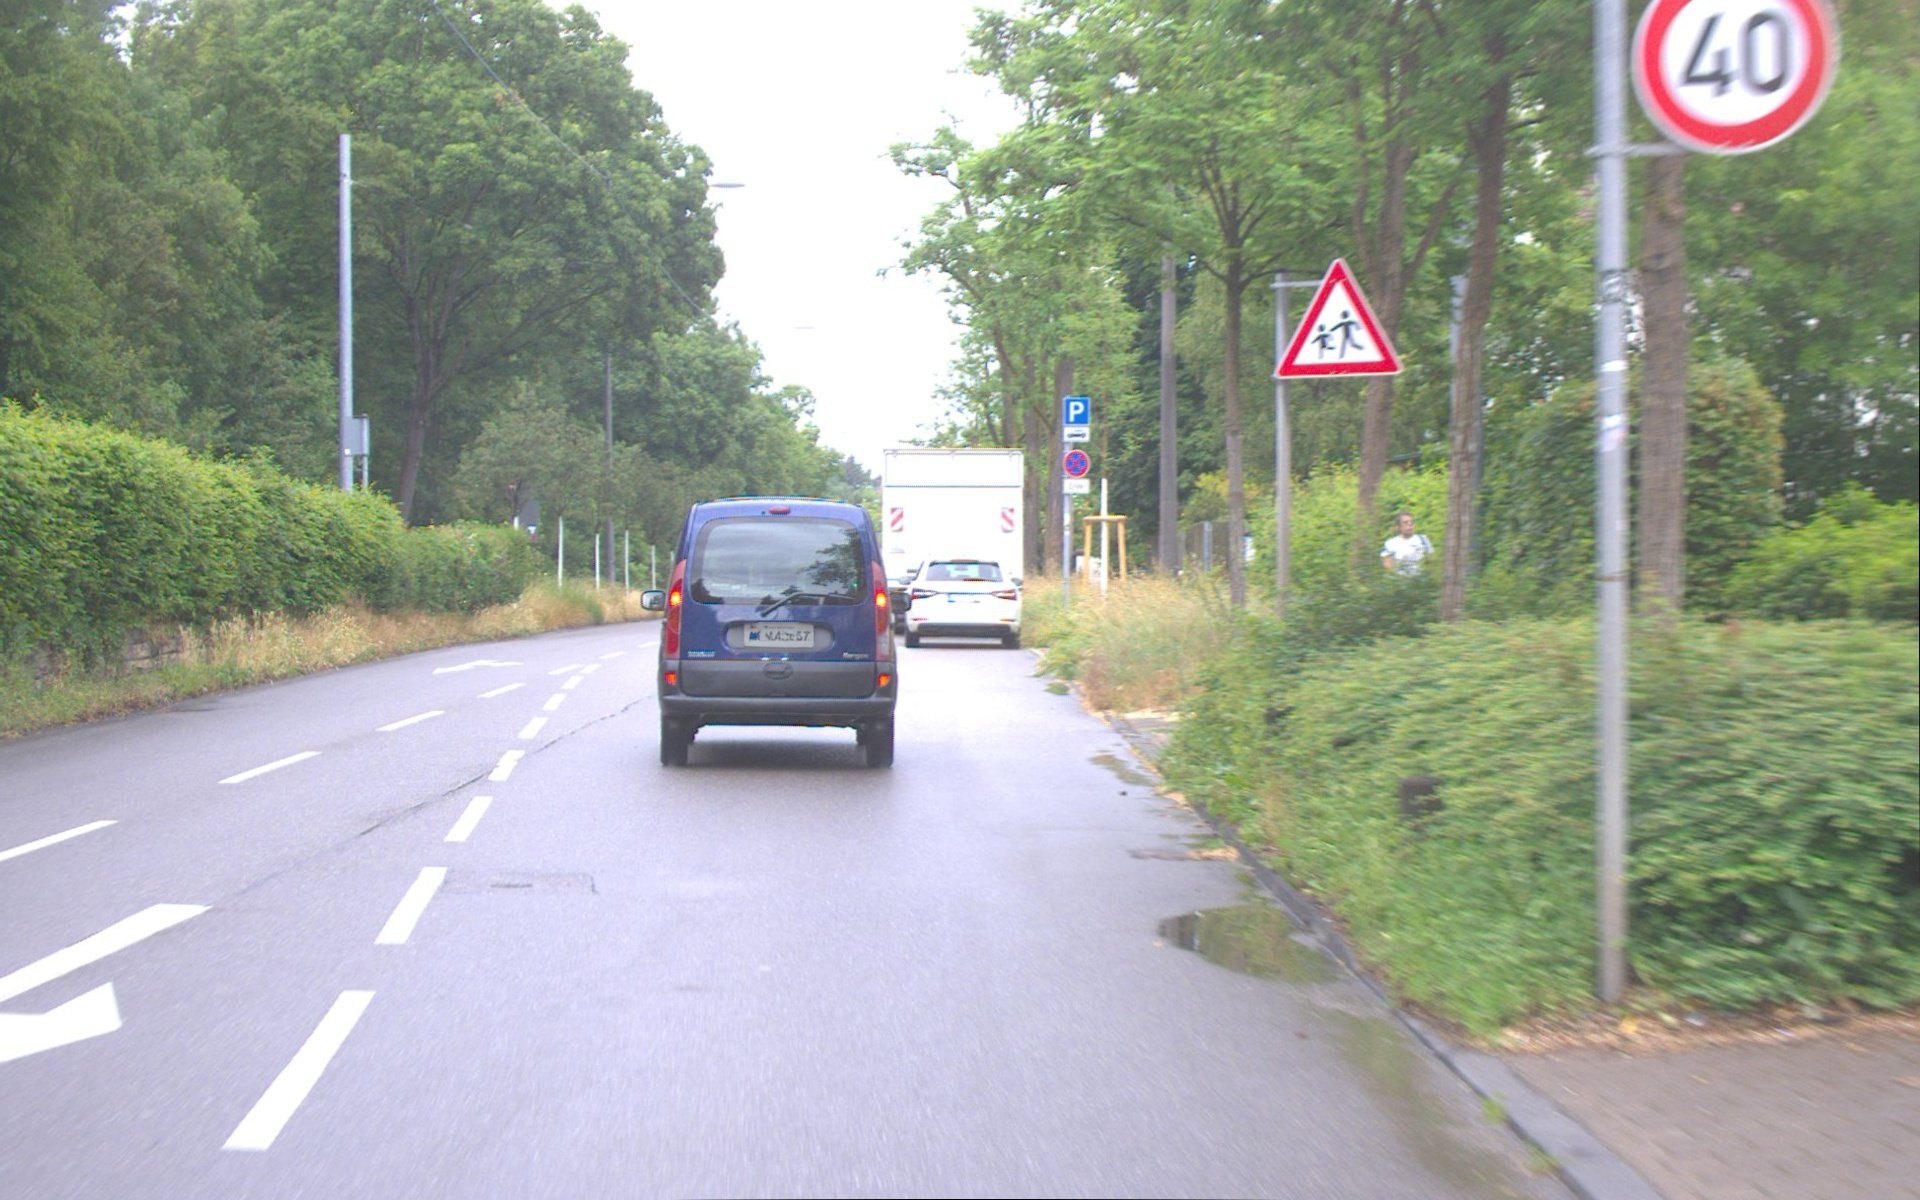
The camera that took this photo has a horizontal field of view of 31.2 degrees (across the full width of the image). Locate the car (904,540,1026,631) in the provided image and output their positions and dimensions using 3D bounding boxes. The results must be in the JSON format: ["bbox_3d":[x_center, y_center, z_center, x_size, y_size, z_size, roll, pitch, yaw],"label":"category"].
[{"bbox_3d":[0.039,-0.257,54.469,1.813,1.376,4.285,0,1,-1],"label":"car"}]

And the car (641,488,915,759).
[{"bbox_3d":[-1.307,0.125,24.806,1.808,1.791,4.001,0,1,-3],"label":"car"}]

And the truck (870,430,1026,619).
[{"bbox_3d":[-0.303,-1.417,65.140,2.731,3.375,6.686,0,1,-2],"label":"truck"}]

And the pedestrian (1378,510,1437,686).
[{"bbox_3d":[4.387,-0.025,33.665,0.562,1.702,0.516,0,1,8],"label":"pedestrian"}]
